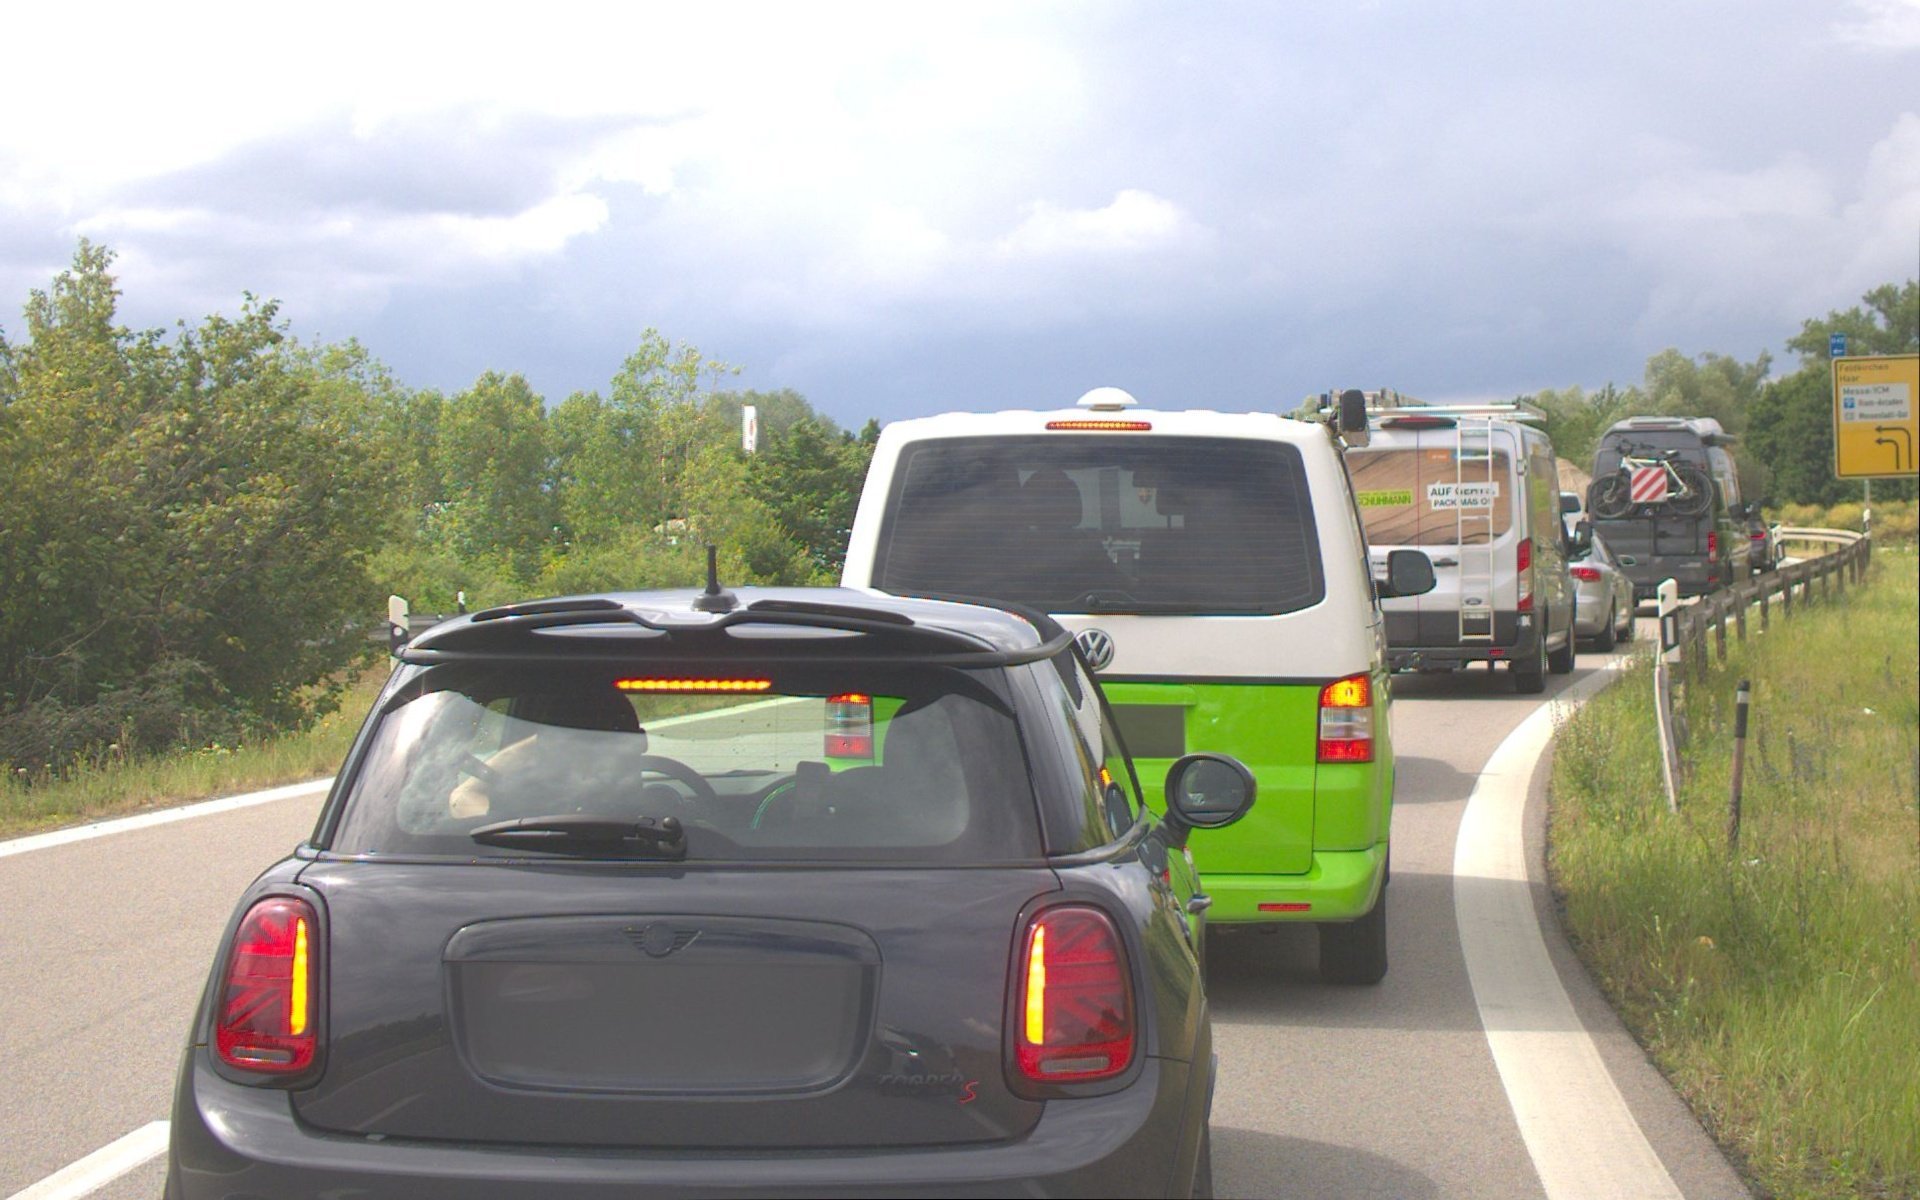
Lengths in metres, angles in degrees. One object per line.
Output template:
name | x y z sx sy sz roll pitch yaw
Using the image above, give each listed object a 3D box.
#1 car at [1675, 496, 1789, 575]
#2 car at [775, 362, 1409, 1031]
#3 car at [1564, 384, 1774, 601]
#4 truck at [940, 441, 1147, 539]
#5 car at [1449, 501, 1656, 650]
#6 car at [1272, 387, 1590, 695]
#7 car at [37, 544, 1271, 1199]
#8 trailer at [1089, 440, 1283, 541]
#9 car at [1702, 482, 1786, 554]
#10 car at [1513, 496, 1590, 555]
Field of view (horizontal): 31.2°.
car | 16.170 -1.331 71.898 1.895 1.583 4.491 1 1 18
car | 0.665 0.260 12.669 1.911 2.038 4.180 0 1 8
car | 10.801 -1.553 51.979 2.313 3.058 6.656 1 1 18
truck | 3.432 -4.587 144.991 2.837 3.962 10.027 0 1 -39
car | 6.989 -0.292 40.271 1.995 1.636 3.926 1 1 15
car | 4.516 -0.534 32.146 2.213 2.613 5.530 1 1 15
car | -0.342 0.673 6.853 1.800 1.541 3.738 0 1 4
trailer | 8.958 -4.319 137.451 3.036 3.884 8.772 0 1 -33
car | 21.714 -2.252 95.341 2.096 1.876 4.493 1 1 11
car | 19.718 -2.477 114.720 2.095 1.876 4.494 1 1 5
